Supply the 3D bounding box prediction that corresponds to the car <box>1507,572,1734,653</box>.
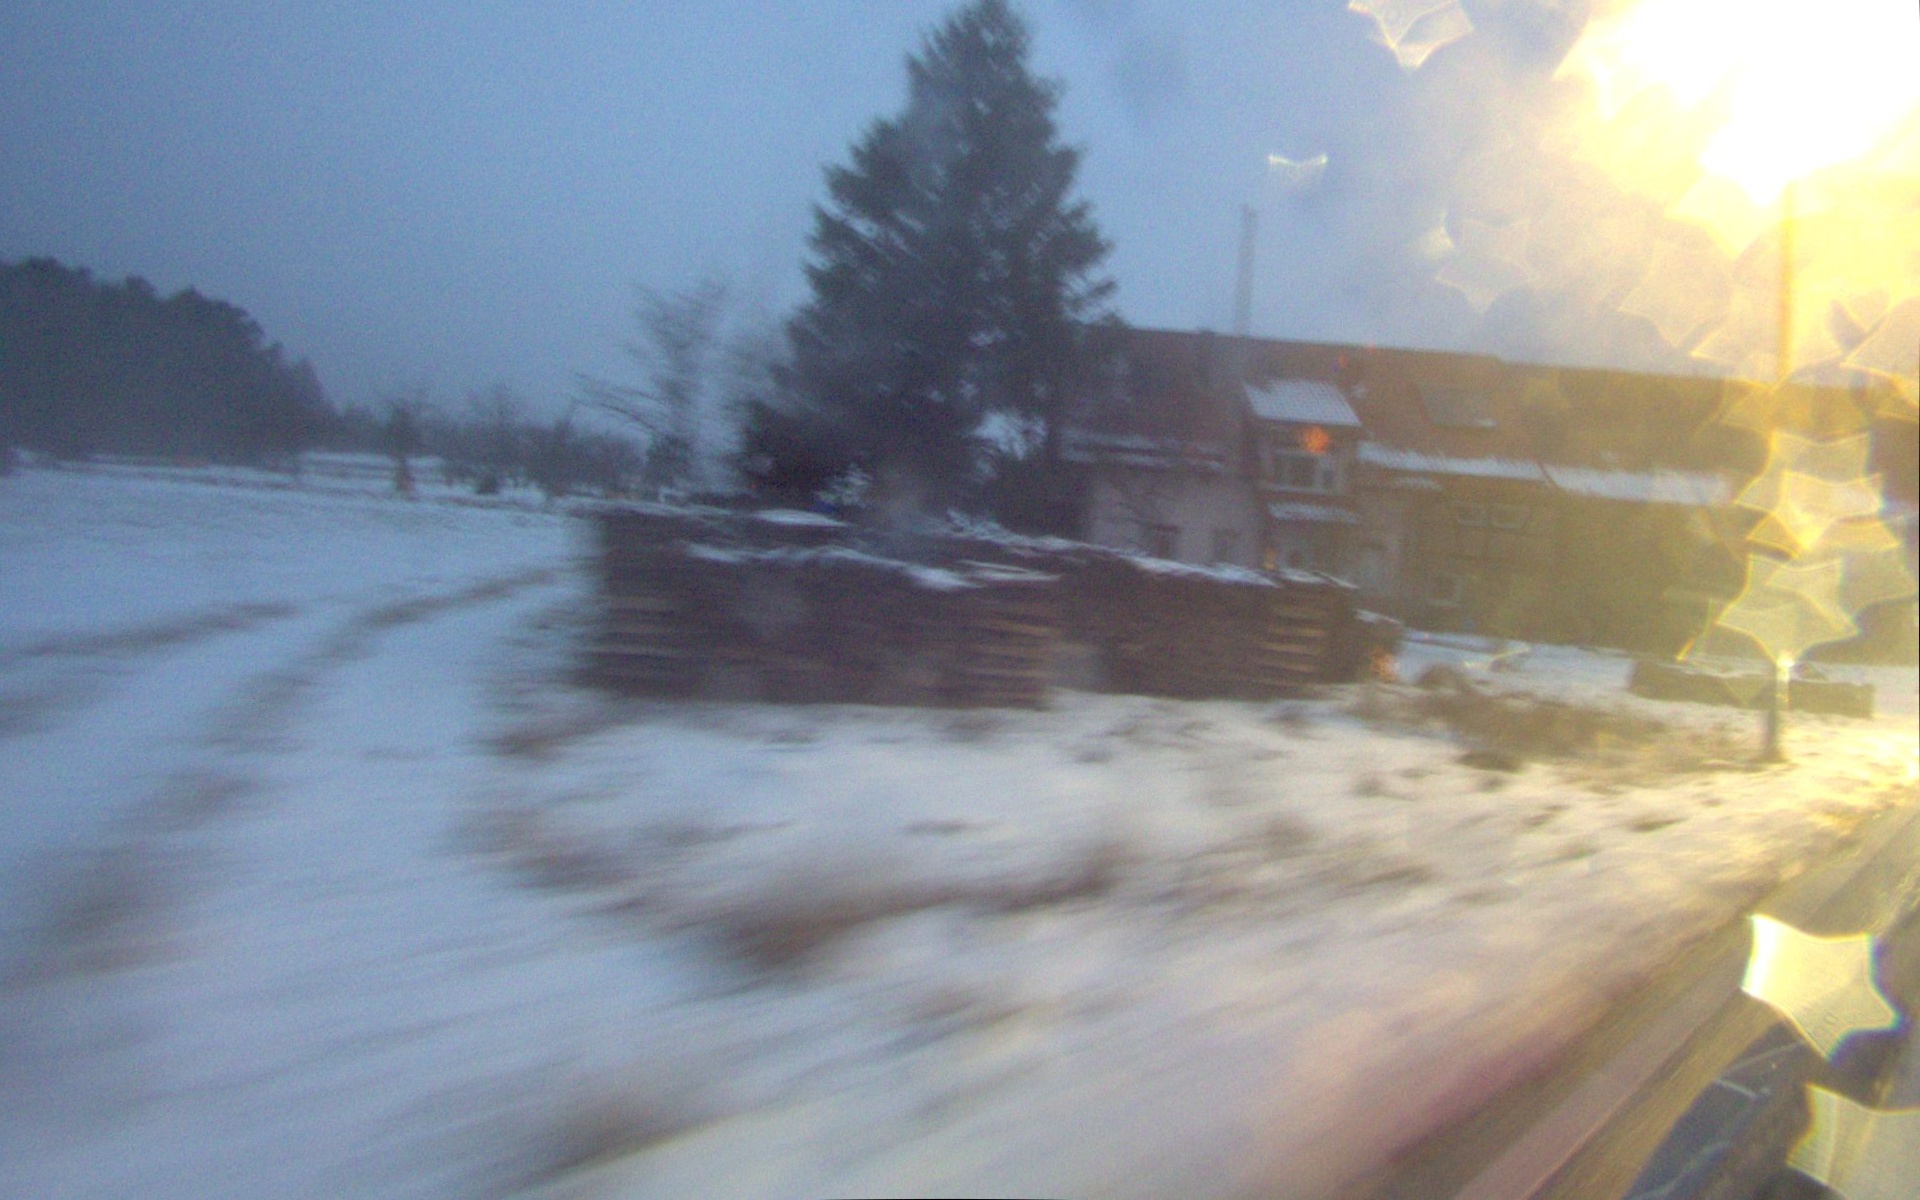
[{"bbox_3d":[16.719,0.265,25.847,1.825,1.677,4.416,2,3,-32],"label":"car"}]
